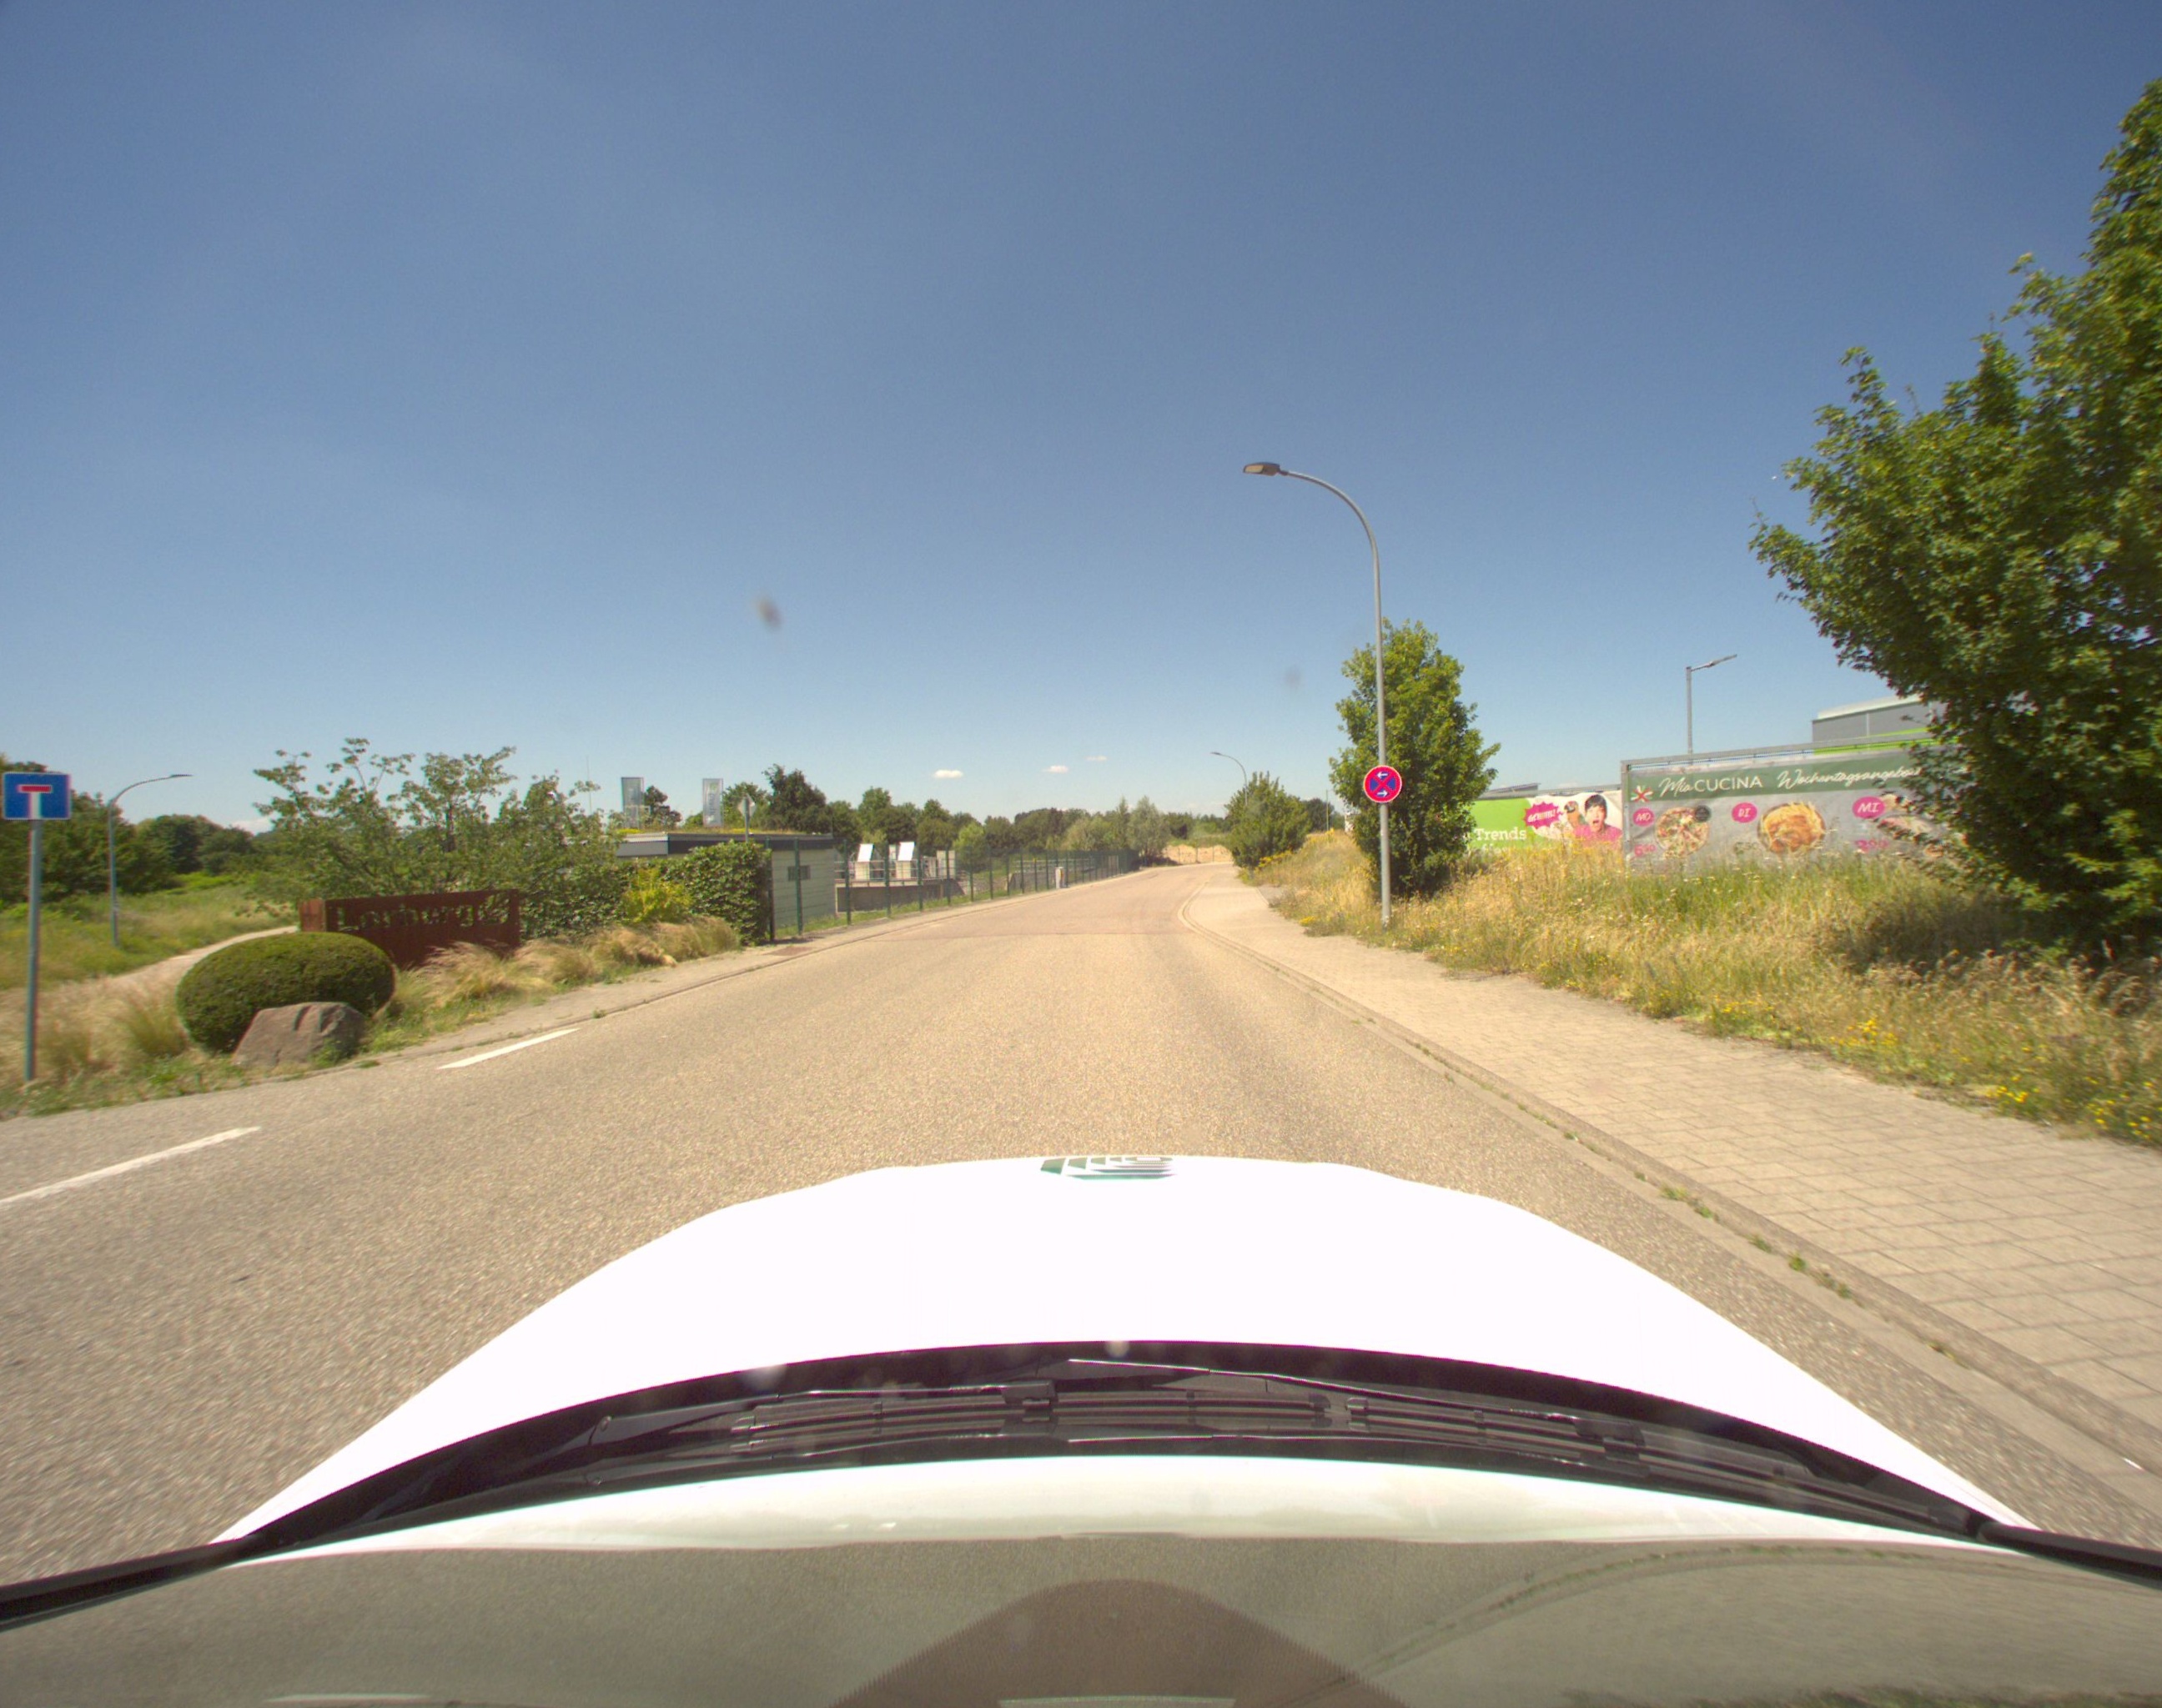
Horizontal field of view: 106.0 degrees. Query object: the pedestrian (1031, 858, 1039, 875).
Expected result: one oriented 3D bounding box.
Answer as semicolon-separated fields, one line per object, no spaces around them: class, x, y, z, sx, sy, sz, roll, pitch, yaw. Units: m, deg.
pedestrian;-5.227;1.399;92.861;0.602;1.839;0.807;-3;0;9
